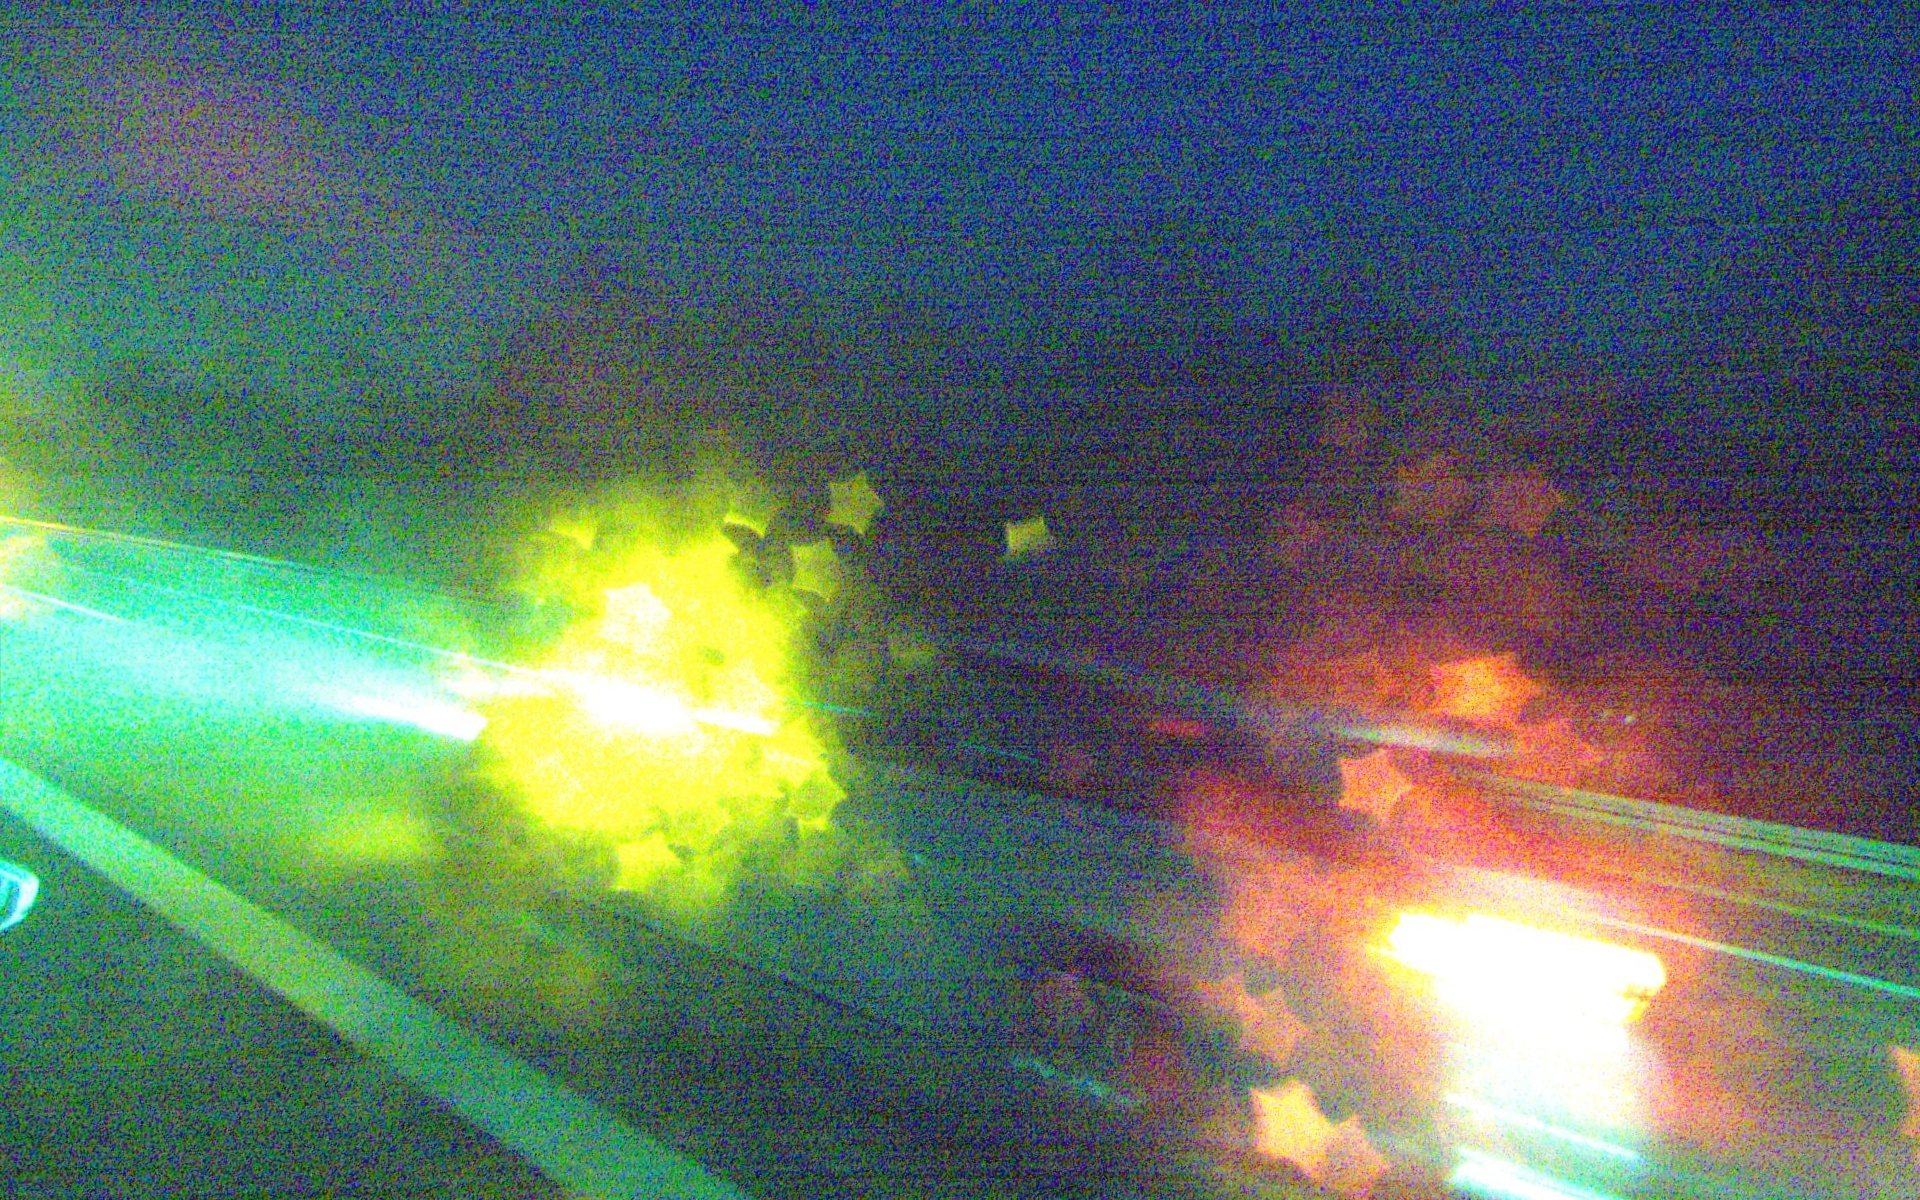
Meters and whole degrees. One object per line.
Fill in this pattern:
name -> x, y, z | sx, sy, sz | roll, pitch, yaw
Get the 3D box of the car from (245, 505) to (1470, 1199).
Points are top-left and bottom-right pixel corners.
car -> -0.647, 0.666, 4.403 | 4.930, 1.537, 2.062 | 7, -1, 30
